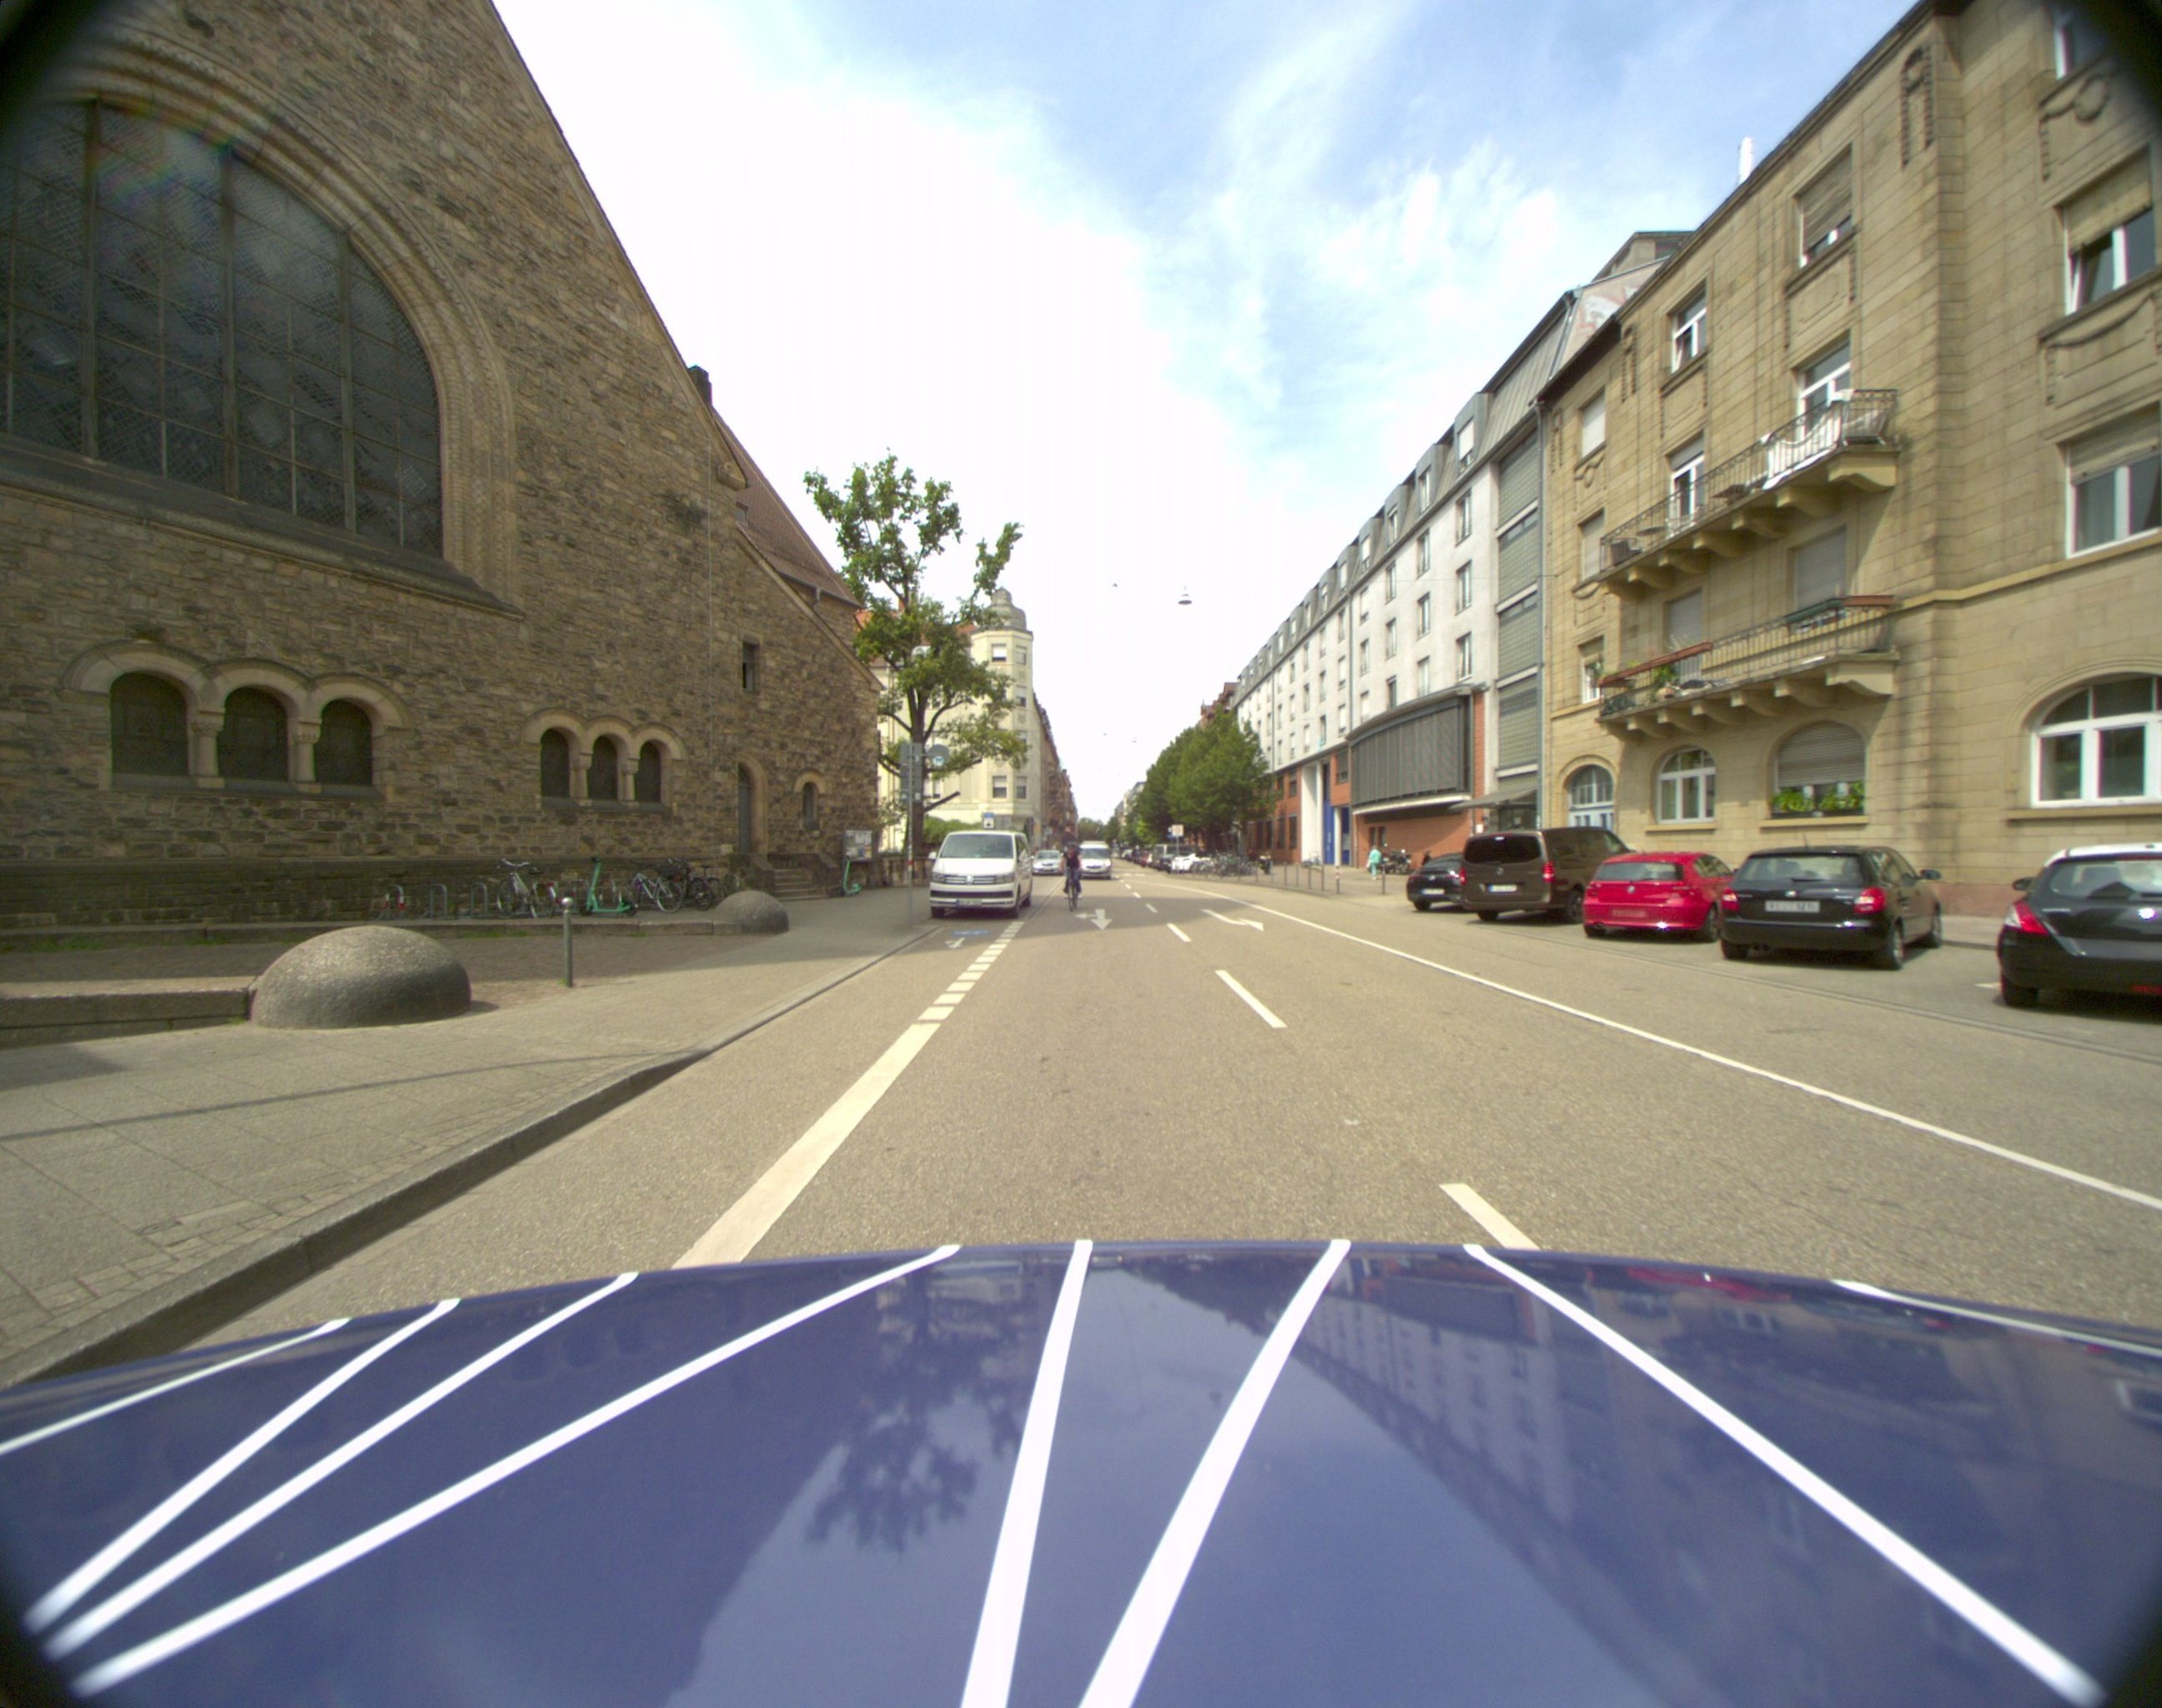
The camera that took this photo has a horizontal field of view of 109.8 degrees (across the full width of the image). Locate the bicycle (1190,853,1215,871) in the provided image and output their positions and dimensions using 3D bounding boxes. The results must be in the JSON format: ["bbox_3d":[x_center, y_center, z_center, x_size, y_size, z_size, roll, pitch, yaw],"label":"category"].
[{"bbox_3d":[7.263,0.490,45.444,1.409,1.020,0.402,-3,1,3],"label":"bicycle"}]

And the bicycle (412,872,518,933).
[{"bbox_3d":[-10.404,0.797,12.830,1.778,0.952,0.547,0,1,20],"label":"bicycle"}]

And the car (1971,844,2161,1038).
[{"bbox_3d":[10.446,0.693,7.308,4.019,1.555,1.792,-1,1,-31],"label":"car"}]

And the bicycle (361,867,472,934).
[{"bbox_3d":[-10.686,0.725,12.212,1.778,0.952,0.547,2,1,20],"label":"bicycle"}]

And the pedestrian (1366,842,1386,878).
[{"bbox_3d":[12.324,0.250,31.750,0.662,1.477,0.509,-1,1,-1],"label":"pedestrian"}]

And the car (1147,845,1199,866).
[{"bbox_3d":[7.522,0.133,62.274,4.012,1.605,1.708,-1,0,-32],"label":"car"}]

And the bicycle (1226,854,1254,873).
[{"bbox_3d":[8.646,0.513,41.321,1.409,1.020,0.402,-1,1,3],"label":"bicycle"}]

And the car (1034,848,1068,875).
[{"bbox_3d":[-1.686,0.383,43.668,1.759,1.460,4.418,0,0,0],"label":"car"}]

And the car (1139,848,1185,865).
[{"bbox_3d":[7.519,0.211,70.054,4.012,1.445,1.687,-1,0,-32],"label":"car"}]

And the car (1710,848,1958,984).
[{"bbox_3d":[10.299,0.693,10.323,4.004,1.494,1.627,-1,1,-34],"label":"car"}]

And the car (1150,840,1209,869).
[{"bbox_3d":[7.330,-0.008,56.667,4.011,1.986,1.857,-3,2,-30],"label":"car"}]

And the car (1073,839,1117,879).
[{"bbox_3d":[0.753,0.246,38.790,1.942,1.913,4.007,-1,0,5],"label":"car"}]

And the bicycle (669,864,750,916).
[{"bbox_3d":[-8.360,0.786,17.082,1.778,1.105,0.547,0,1,20],"label":"bicycle"}]

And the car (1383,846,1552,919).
[{"bbox_3d":[9.781,0.643,19.085,4.679,1.401,1.895,-4,1,-38],"label":"car"}]

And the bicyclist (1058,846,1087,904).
[{"bbox_3d":[-0.206,0.508,19.010,0.649,1.408,1.094,-1,1,2],"label":"bicyclist"}]

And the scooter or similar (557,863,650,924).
[{"bbox_3d":[-9.296,0.743,14.796,1.778,1.133,0.547,0,1,20],"label":"scooter or similar"}]

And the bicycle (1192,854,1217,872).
[{"bbox_3d":[7.247,0.528,44.636,1.409,1.020,0.402,-3,1,3],"label":"bicycle"}]

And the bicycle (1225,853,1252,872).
[{"bbox_3d":[8.677,0.479,41.856,1.409,1.020,0.402,-1,1,3],"label":"bicycle"}]

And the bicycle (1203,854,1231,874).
[{"bbox_3d":[7.294,0.534,40.718,1.409,1.032,0.402,-3,1,3],"label":"bicycle"}]

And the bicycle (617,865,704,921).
[{"bbox_3d":[-8.804,0.790,15.893,1.778,1.105,0.547,0,1,20],"label":"bicycle"}]

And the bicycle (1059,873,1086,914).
[{"bbox_3d":[-0.198,0.966,19.048,0.586,0.927,1.783,-1,0,2],"label":"bicycle"}]

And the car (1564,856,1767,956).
[{"bbox_3d":[10.072,0.759,13.005,4.020,1.401,1.792,-1,1,-38],"label":"car"}]

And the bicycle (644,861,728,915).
[{"bbox_3d":[-8.570,0.722,16.465,1.771,1.105,0.547,0,1,20],"label":"bicycle"}]

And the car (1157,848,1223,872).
[{"bbox_3d":[7.327,0.372,50.924,4.324,1.461,1.713,-1,1,-33],"label":"car"}]

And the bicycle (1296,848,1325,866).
[{"bbox_3d":[14.528,0.181,48.196,1.613,0.921,0.932,-6,0,13],"label":"bicycle"}]

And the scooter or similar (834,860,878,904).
[{"bbox_3d":[-6.429,0.780,21.785,0.545,1.200,1.444,0,1,14],"label":"scooter or similar"}]

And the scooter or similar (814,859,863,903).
[{"bbox_3d":[-7.038,0.762,22.091,0.545,1.200,1.483,0,1,21],"label":"scooter or similar"}]

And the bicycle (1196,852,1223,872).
[{"bbox_3d":[7.203,0.442,42.720,1.409,1.032,0.402,-3,1,3],"label":"bicycle"}]

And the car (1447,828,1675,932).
[{"bbox_3d":[10.339,0.442,16.219,5.280,1.899,2.116,-1,1,-33],"label":"car"}]

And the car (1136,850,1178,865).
[{"bbox_3d":[7.825,0.359,78.231,4.012,1.558,1.687,-1,0,-32],"label":"car"}]

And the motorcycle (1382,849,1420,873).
[{"bbox_3d":[14.608,0.307,34.724,0.585,1.042,1.965,-2,0,-10],"label":"motorcycle"}]

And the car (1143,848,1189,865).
[{"bbox_3d":[7.595,0.225,67.840,4.012,1.381,1.592,-1,0,-32],"label":"car"}]

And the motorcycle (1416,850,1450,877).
[{"bbox_3d":[14.358,0.370,31.025,0.585,1.042,1.794,-2,0,2],"label":"motorcycle"}]

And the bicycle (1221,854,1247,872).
[{"bbox_3d":[8.677,0.504,43.160,1.409,1.020,0.402,-1,1,3],"label":"bicycle"}]

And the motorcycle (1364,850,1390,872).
[{"bbox_3d":[14.462,0.316,37.145,0.585,1.042,1.657,-2,0,0],"label":"motorcycle"}]

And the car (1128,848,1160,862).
[{"bbox_3d":[8.304,0.121,100.288,4.012,1.847,1.687,-1,0,-32],"label":"car"}]

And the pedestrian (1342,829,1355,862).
[{"bbox_3d":[16.456,-0.511,46.785,0.729,2.002,0.783,0,1,20],"label":"pedestrian"}]

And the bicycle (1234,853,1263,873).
[{"bbox_3d":[8.832,0.467,40.074,1.409,1.020,0.402,-1,1,3],"label":"bicycle"}]

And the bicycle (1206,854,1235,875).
[{"bbox_3d":[7.329,0.558,39.825,1.409,1.032,0.402,-3,1,3],"label":"bicycle"}]

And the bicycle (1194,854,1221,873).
[{"bbox_3d":[7.216,0.551,43.364,1.409,1.020,0.402,-3,1,3],"label":"bicycle"}]

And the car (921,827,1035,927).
[{"bbox_3d":[-2.257,0.430,18.095,2.019,2.018,5.122,1,1,0],"label":"car"}]

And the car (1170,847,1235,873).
[{"bbox_3d":[7.772,0.360,48.479,4.013,1.536,1.598,-1,1,-33],"label":"car"}]

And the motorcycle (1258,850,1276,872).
[{"bbox_3d":[9.931,0.371,40.677,0.585,1.166,1.779,-2,0,3],"label":"motorcycle"}]

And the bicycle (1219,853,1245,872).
[{"bbox_3d":[8.682,0.481,43.645,1.409,1.020,0.402,-1,1,3],"label":"bicycle"}]

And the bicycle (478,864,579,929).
[{"bbox_3d":[-9.951,0.750,13.675,1.778,1.105,0.547,0,1,20],"label":"bicycle"}]

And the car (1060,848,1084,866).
[{"bbox_3d":[-0.781,0.270,72.006,1.853,1.661,4.007,-1,0,5],"label":"car"}]

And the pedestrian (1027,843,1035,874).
[{"bbox_3d":[-2.869,0.257,43.598,0.468,1.725,0.410,0,1,1],"label":"pedestrian"}]

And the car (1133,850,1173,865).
[{"bbox_3d":[7.714,0.374,80.846,4.012,1.558,1.687,-1,0,-32],"label":"car"}]
